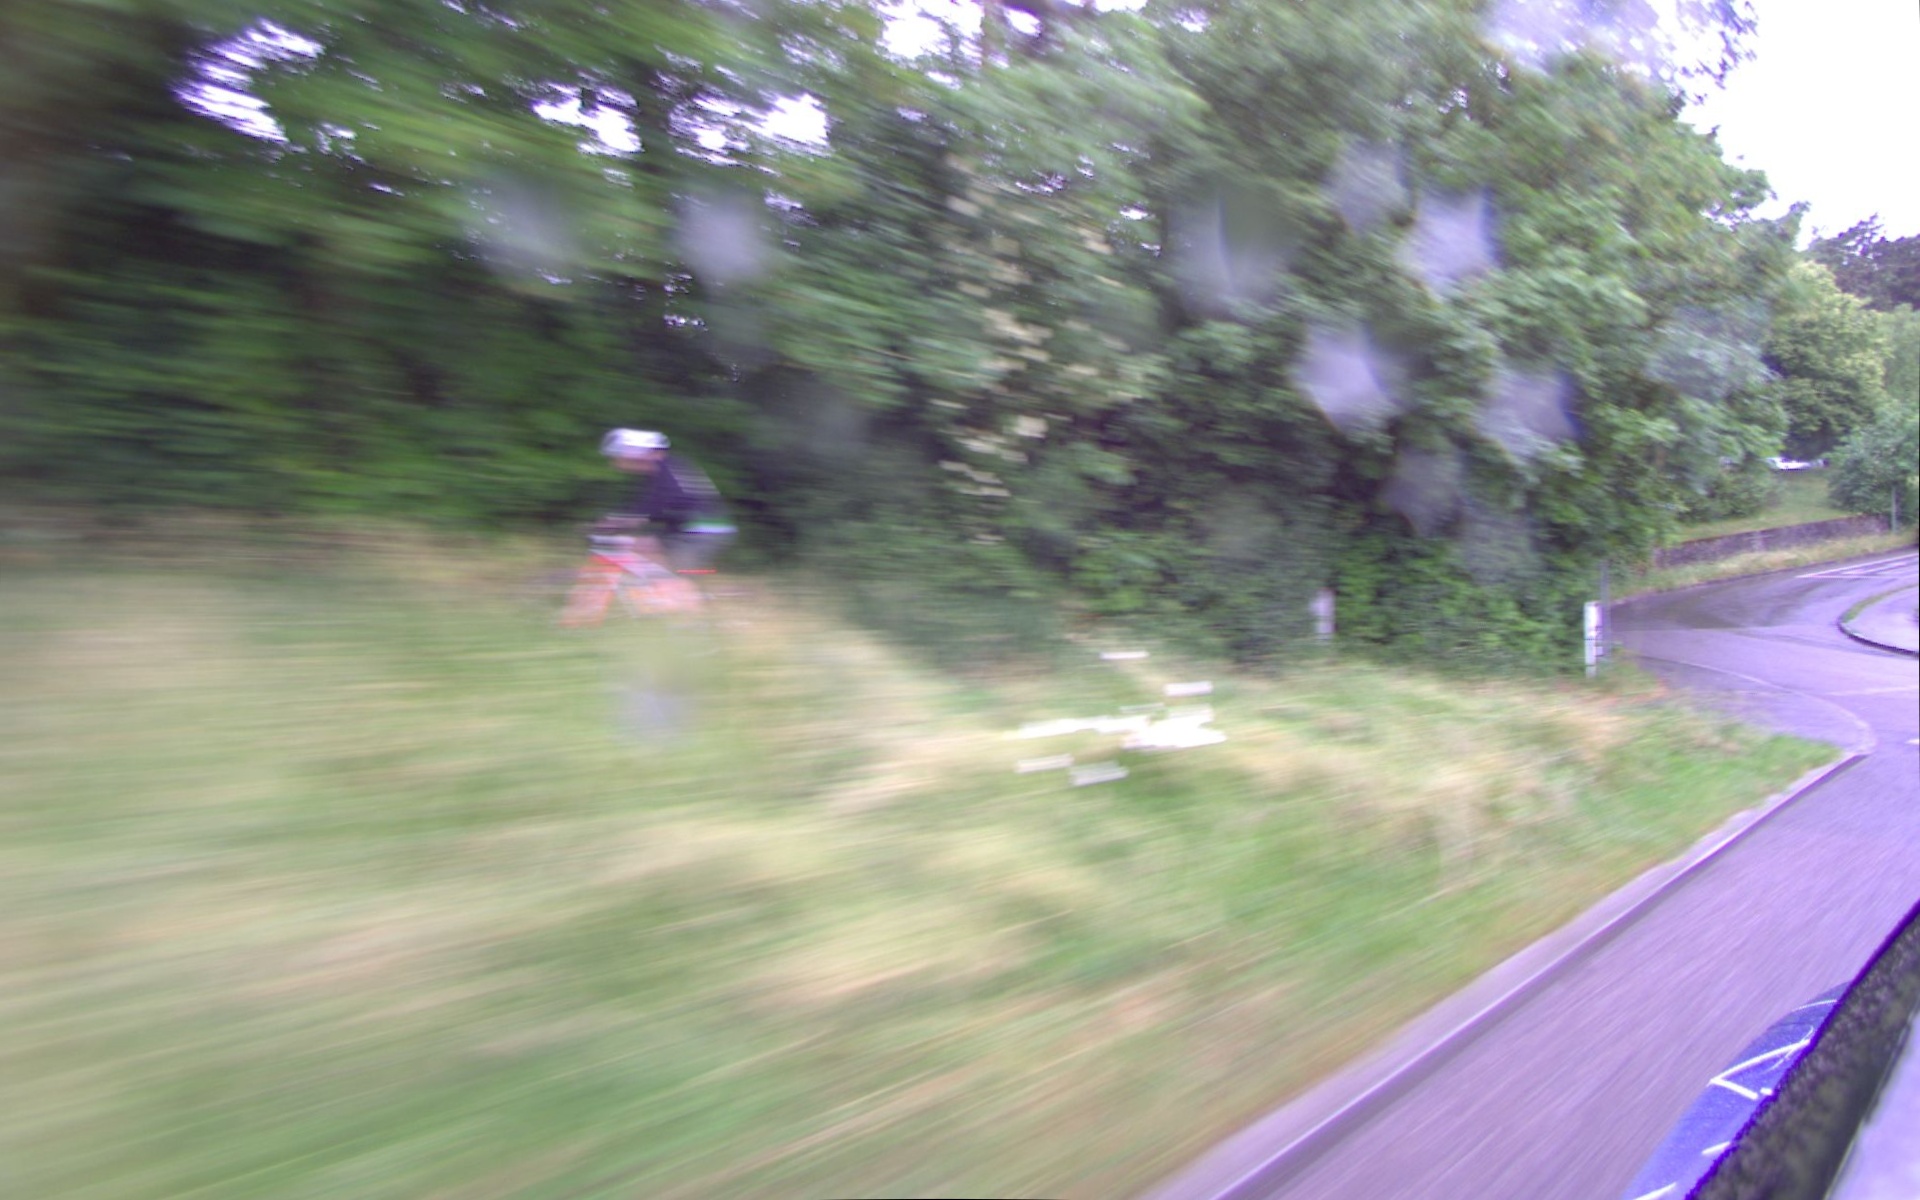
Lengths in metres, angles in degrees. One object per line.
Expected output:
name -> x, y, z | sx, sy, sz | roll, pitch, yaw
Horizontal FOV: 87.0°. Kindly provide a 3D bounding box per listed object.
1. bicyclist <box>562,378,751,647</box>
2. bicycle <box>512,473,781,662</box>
bicyclist -> -2.054, -0.544, 6.868 | 0.889, 1.636, 0.722 | 7, -4, -40
bicycle -> -2.081, -0.174, 6.864 | 1.591, 1.099, 0.528 | 6, -3, -40
